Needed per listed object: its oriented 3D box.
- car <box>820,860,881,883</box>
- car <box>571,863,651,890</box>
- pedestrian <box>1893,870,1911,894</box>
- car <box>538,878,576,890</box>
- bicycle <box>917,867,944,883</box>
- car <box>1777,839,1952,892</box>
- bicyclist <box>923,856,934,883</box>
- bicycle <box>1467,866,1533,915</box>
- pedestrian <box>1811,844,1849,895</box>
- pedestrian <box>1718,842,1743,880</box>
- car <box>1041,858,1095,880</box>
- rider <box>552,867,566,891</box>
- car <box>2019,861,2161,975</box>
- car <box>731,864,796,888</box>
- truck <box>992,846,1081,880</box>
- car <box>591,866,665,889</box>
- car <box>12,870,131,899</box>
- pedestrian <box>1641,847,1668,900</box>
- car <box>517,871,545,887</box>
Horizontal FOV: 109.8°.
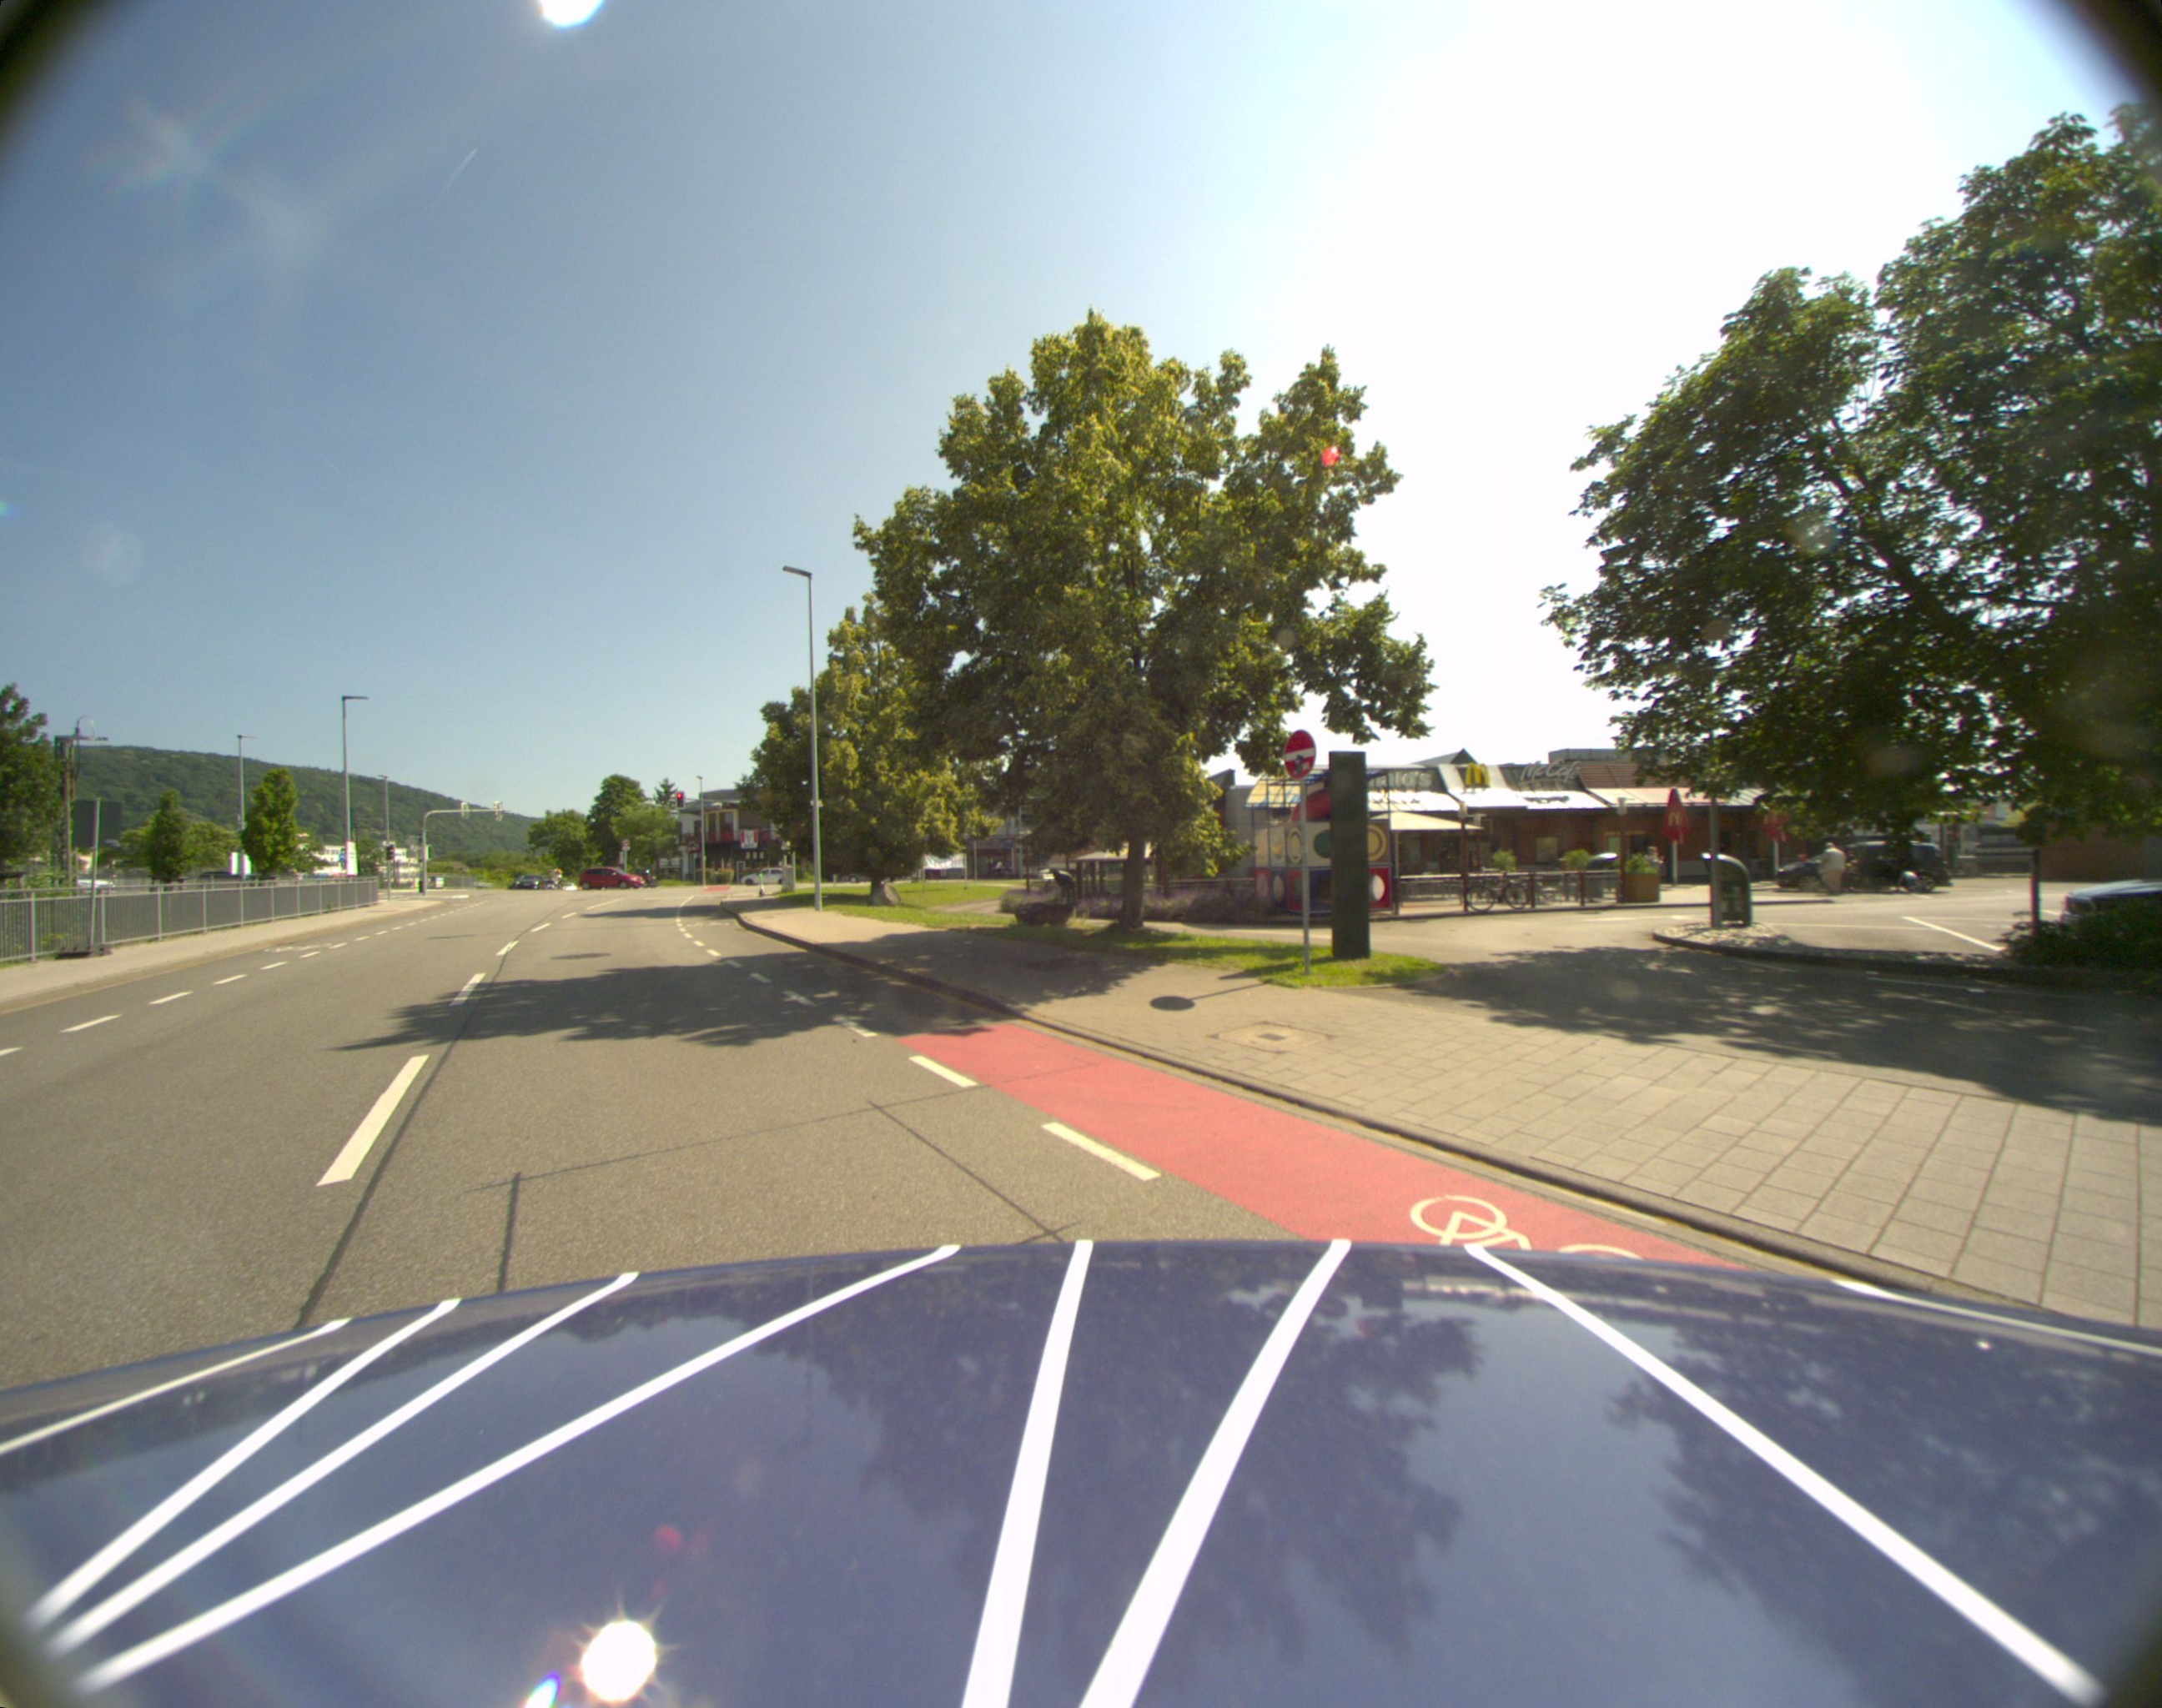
[{"bbox_3d":[-18.367,1.380,60.751,4.370,1.618,1.829,-1,3,-8],"label":"car"},{"bbox_3d":[-33.109,1.538,53.609,4.371,1.670,1.829,-1,3,-10],"label":"car"},{"bbox_3d":[26.162,0.890,24.211,0.363,0.774,0.336,-1,1,42],"label":"pedestrian"},{"bbox_3d":[-41.387,2.362,60.016,2.383,0.897,0.575,-1,3,-9],"label":"car"},{"bbox_3d":[-10.442,1.483,52.754,1.725,1.037,0.582,-1,3,-8],"label":"bicycle"},{"bbox_3d":[26.297,0.391,25.714,3.989,1.647,1.960,-1,0,43],"label":"car"},{"bbox_3d":[-10.598,1.062,52.724,0.657,1.886,0.552,-1,3,-8],"label":"bicyclist"},{"bbox_3d":[11.065,0.967,20.077,1.612,1.180,0.309,-3,3,-5],"label":"bicycle"},{"bbox_3d":[24.392,0.492,24.761,0.831,1.628,0.790,-1,0,42],"label":"pedestrian"},{"bbox_3d":[28.642,0.309,33.528,0.623,1.642,0.542,-1,0,-8],"label":"pedestrian"},{"bbox_3d":[-1.105,1.264,63.560,4.370,1.618,1.829,-1,3,-8],"label":"car"},{"bbox_3d":[-41.244,1.966,60.049,0.685,1.804,0.547,-1,3,-9],"label":"rider"},{"bbox_3d":[15.985,0.844,10.174,3.989,1.485,1.659,-1,0,31],"label":"car"},{"bbox_3d":[-24.904,1.705,59.743,4.370,1.618,1.829,-1,3,-8],"label":"car"},{"bbox_3d":[-3.388,0.678,56.800,6.388,2.361,2.383,-1,-1,-9],"label":"truck"},{"bbox_3d":[-34.482,1.753,57.925,4.370,1.483,1.829,-1,3,-8],"label":"car"},{"bbox_3d":[-65.661,1.970,49.486,4.766,1.643,1.830,-1,3,-5],"label":"car"},{"bbox_3d":[17.300,0.574,22.909,0.595,1.558,0.572,-1,1,41],"label":"pedestrian"},{"bbox_3d":[-49.476,2.229,68.386,1.613,1.248,3.674,-1,0,-29],"label":"car"}]
